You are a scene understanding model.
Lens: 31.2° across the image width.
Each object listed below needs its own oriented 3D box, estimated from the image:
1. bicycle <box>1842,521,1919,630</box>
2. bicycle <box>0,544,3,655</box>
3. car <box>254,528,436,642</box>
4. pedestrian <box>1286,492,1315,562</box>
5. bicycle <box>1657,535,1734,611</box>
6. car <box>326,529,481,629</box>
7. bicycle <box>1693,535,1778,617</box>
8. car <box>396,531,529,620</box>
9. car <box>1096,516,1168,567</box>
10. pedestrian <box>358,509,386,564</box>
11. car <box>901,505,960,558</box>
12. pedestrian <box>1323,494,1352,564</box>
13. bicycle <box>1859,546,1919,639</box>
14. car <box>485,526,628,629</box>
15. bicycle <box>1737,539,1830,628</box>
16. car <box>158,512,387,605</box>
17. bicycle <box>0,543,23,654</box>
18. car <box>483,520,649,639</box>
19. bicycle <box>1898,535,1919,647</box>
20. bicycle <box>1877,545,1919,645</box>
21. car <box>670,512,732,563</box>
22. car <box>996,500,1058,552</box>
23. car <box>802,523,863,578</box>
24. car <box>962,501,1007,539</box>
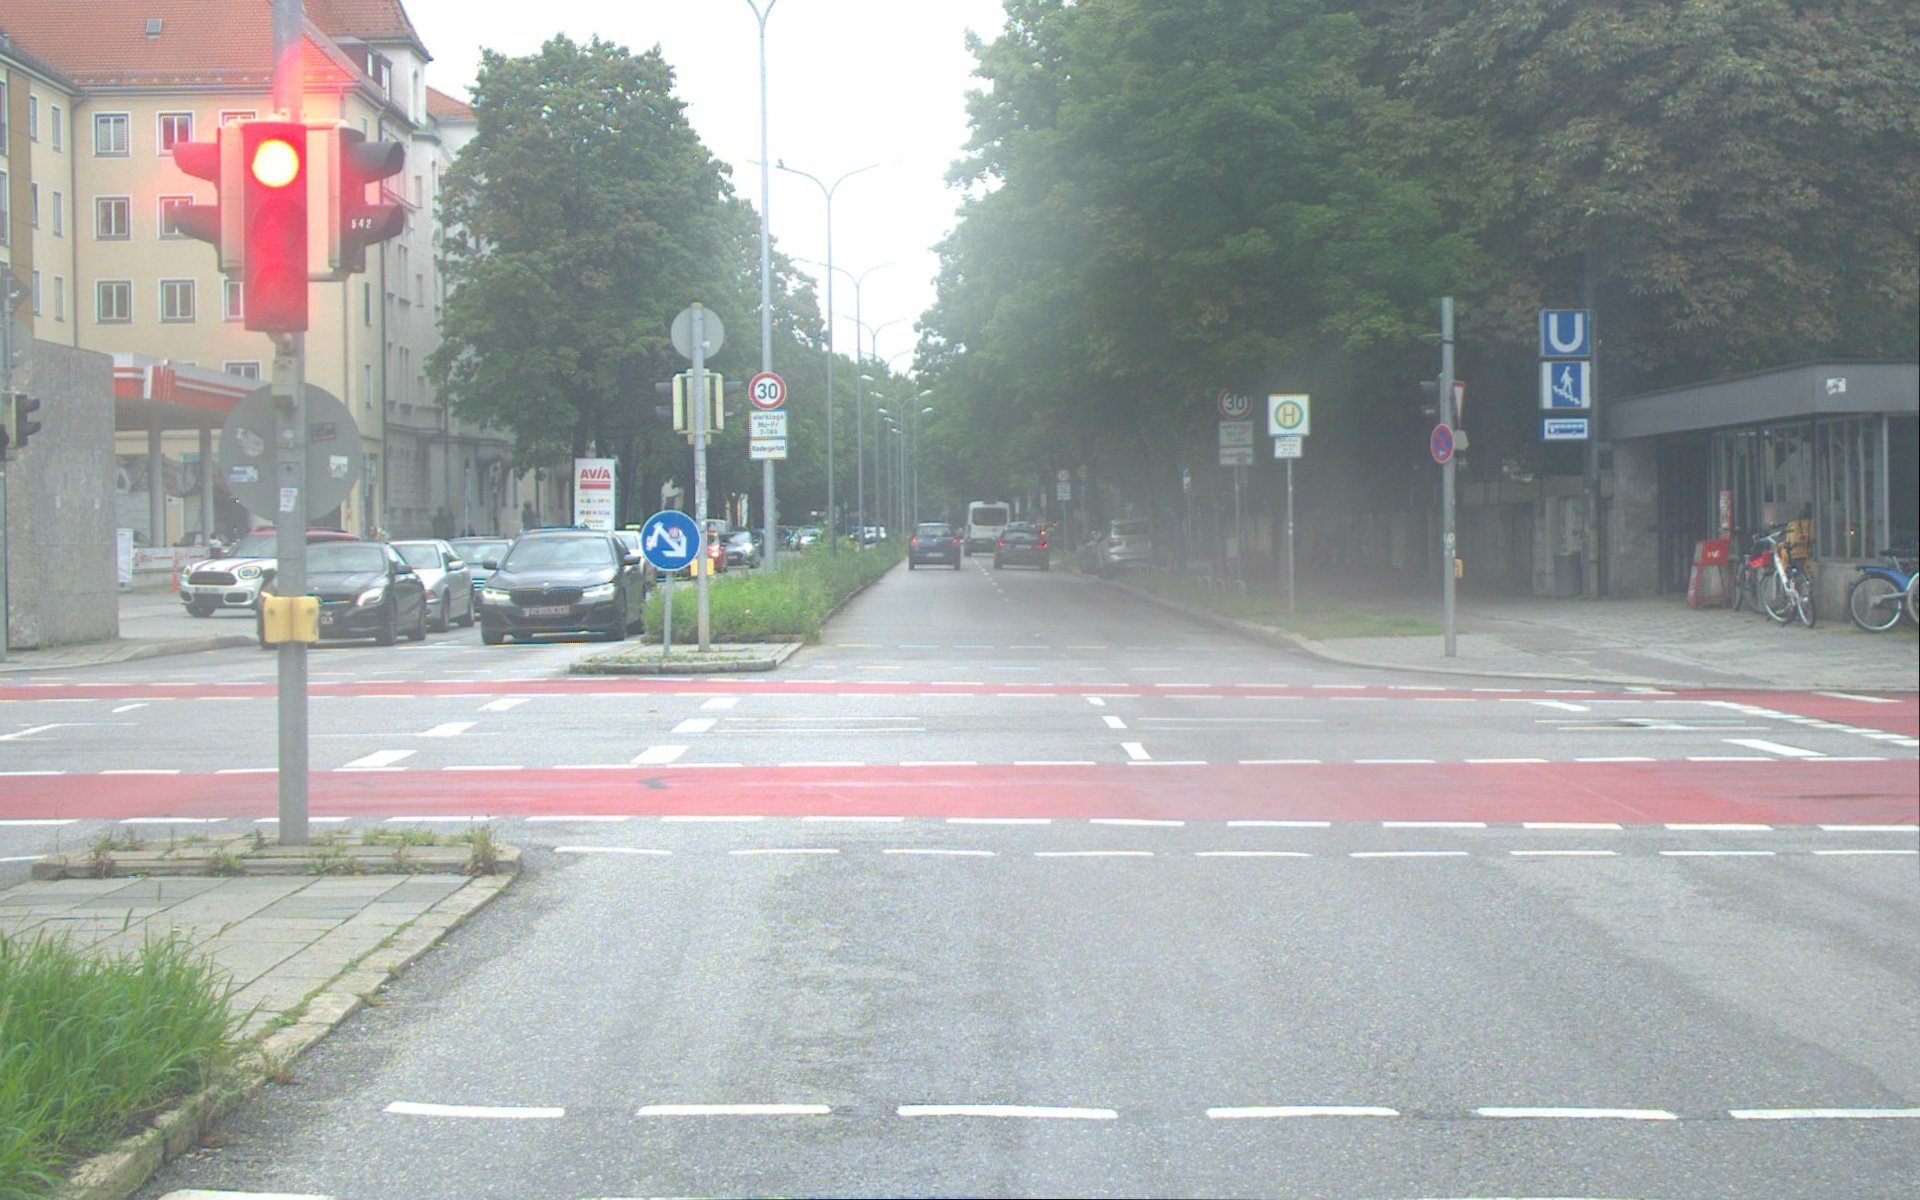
[{"bbox_3d":[11.008,-0.279,38.492,2.144,1.214,0.603,0,1,8],"label":"bicycle"},{"bbox_3d":[-12.396,0.013,40.061,2.271,1.300,0.704,0,1,1],"label":"bicycle"},{"bbox_3d":[-8.287,-0.236,46.632,1.760,1.455,4.000,0,1,0],"label":"car"},{"bbox_3d":[8.223,-1.760,83.041,0.678,1.677,0.682,0,1,6],"label":"pedestrian"},{"bbox_3d":[10.075,-0.379,47.167,0.556,1.011,2.016,0,1,-2],"label":"bicycle"},{"bbox_3d":[-8.579,-0.347,53.273,1.760,1.455,4.000,0,1,0],"label":"car"},{"bbox_3d":[9.859,-0.319,43.750,0.556,1.011,2.016,0,1,-2],"label":"bicycle"},{"bbox_3d":[-8.662,-0.453,60.116,1.760,1.455,4.000,0,1,0],"label":"car"},{"bbox_3d":[4.720,-1.635,94.594,1.743,1.358,3.807,0,1,0],"label":"car"},{"bbox_3d":[-17.688,-1.912,103.494,0.696,1.632,0.738,0,1,0],"label":"pedestrian"},{"bbox_3d":[-0.953,-2.229,111.329,1.857,1.678,4.000,0,1,0],"label":"car"},{"bbox_3d":[9.125,-1.710,83.183,0.678,1.677,0.682,0,1,6],"label":"pedestrian"},{"bbox_3d":[11.011,-0.091,37.777,2.144,1.011,0.603,0,1,8],"label":"bicycle"},{"bbox_3d":[-6.198,-0.378,53.183,1.760,1.488,4.000,0,1,0],"label":"car"},{"bbox_3d":[9.816,-0.209,41.018,0.556,1.011,2.016,0,1,-2],"label":"bicycle"},{"bbox_3d":[-12.404,-0.775,62.215,1.814,1.603,3.960,0,2,32],"label":"car"},{"bbox_3d":[-12.374,-0.017,40.840,2.285,1.300,0.694,0,1,1],"label":"bicycle"},{"bbox_3d":[-5.188,-0.303,45.720,1.760,1.488,4.000,0,1,0],"label":"car"},{"bbox_3d":[11.018,-0.104,36.193,2.144,1.174,0.603,0,1,8],"label":"bicycle"},{"bbox_3d":[10.986,-0.058,36.896,2.144,1.058,0.603,0,1,8],"label":"bicycle"},{"bbox_3d":[-8.677,-2.120,115.483,1.876,1.662,4.001,0,1,-2],"label":"car"},{"bbox_3d":[2.212,-2.452,114.398,1.923,1.678,4.000,1,1,0],"label":"car"},{"bbox_3d":[-3.335,-1.325,90.385,1.468,1.394,3.700,0,1,0],"label":"car"},{"bbox_3d":[1.121,-3.713,159.128,1.993,1.750,4.000,-1,1,-1],"label":"car"}]
